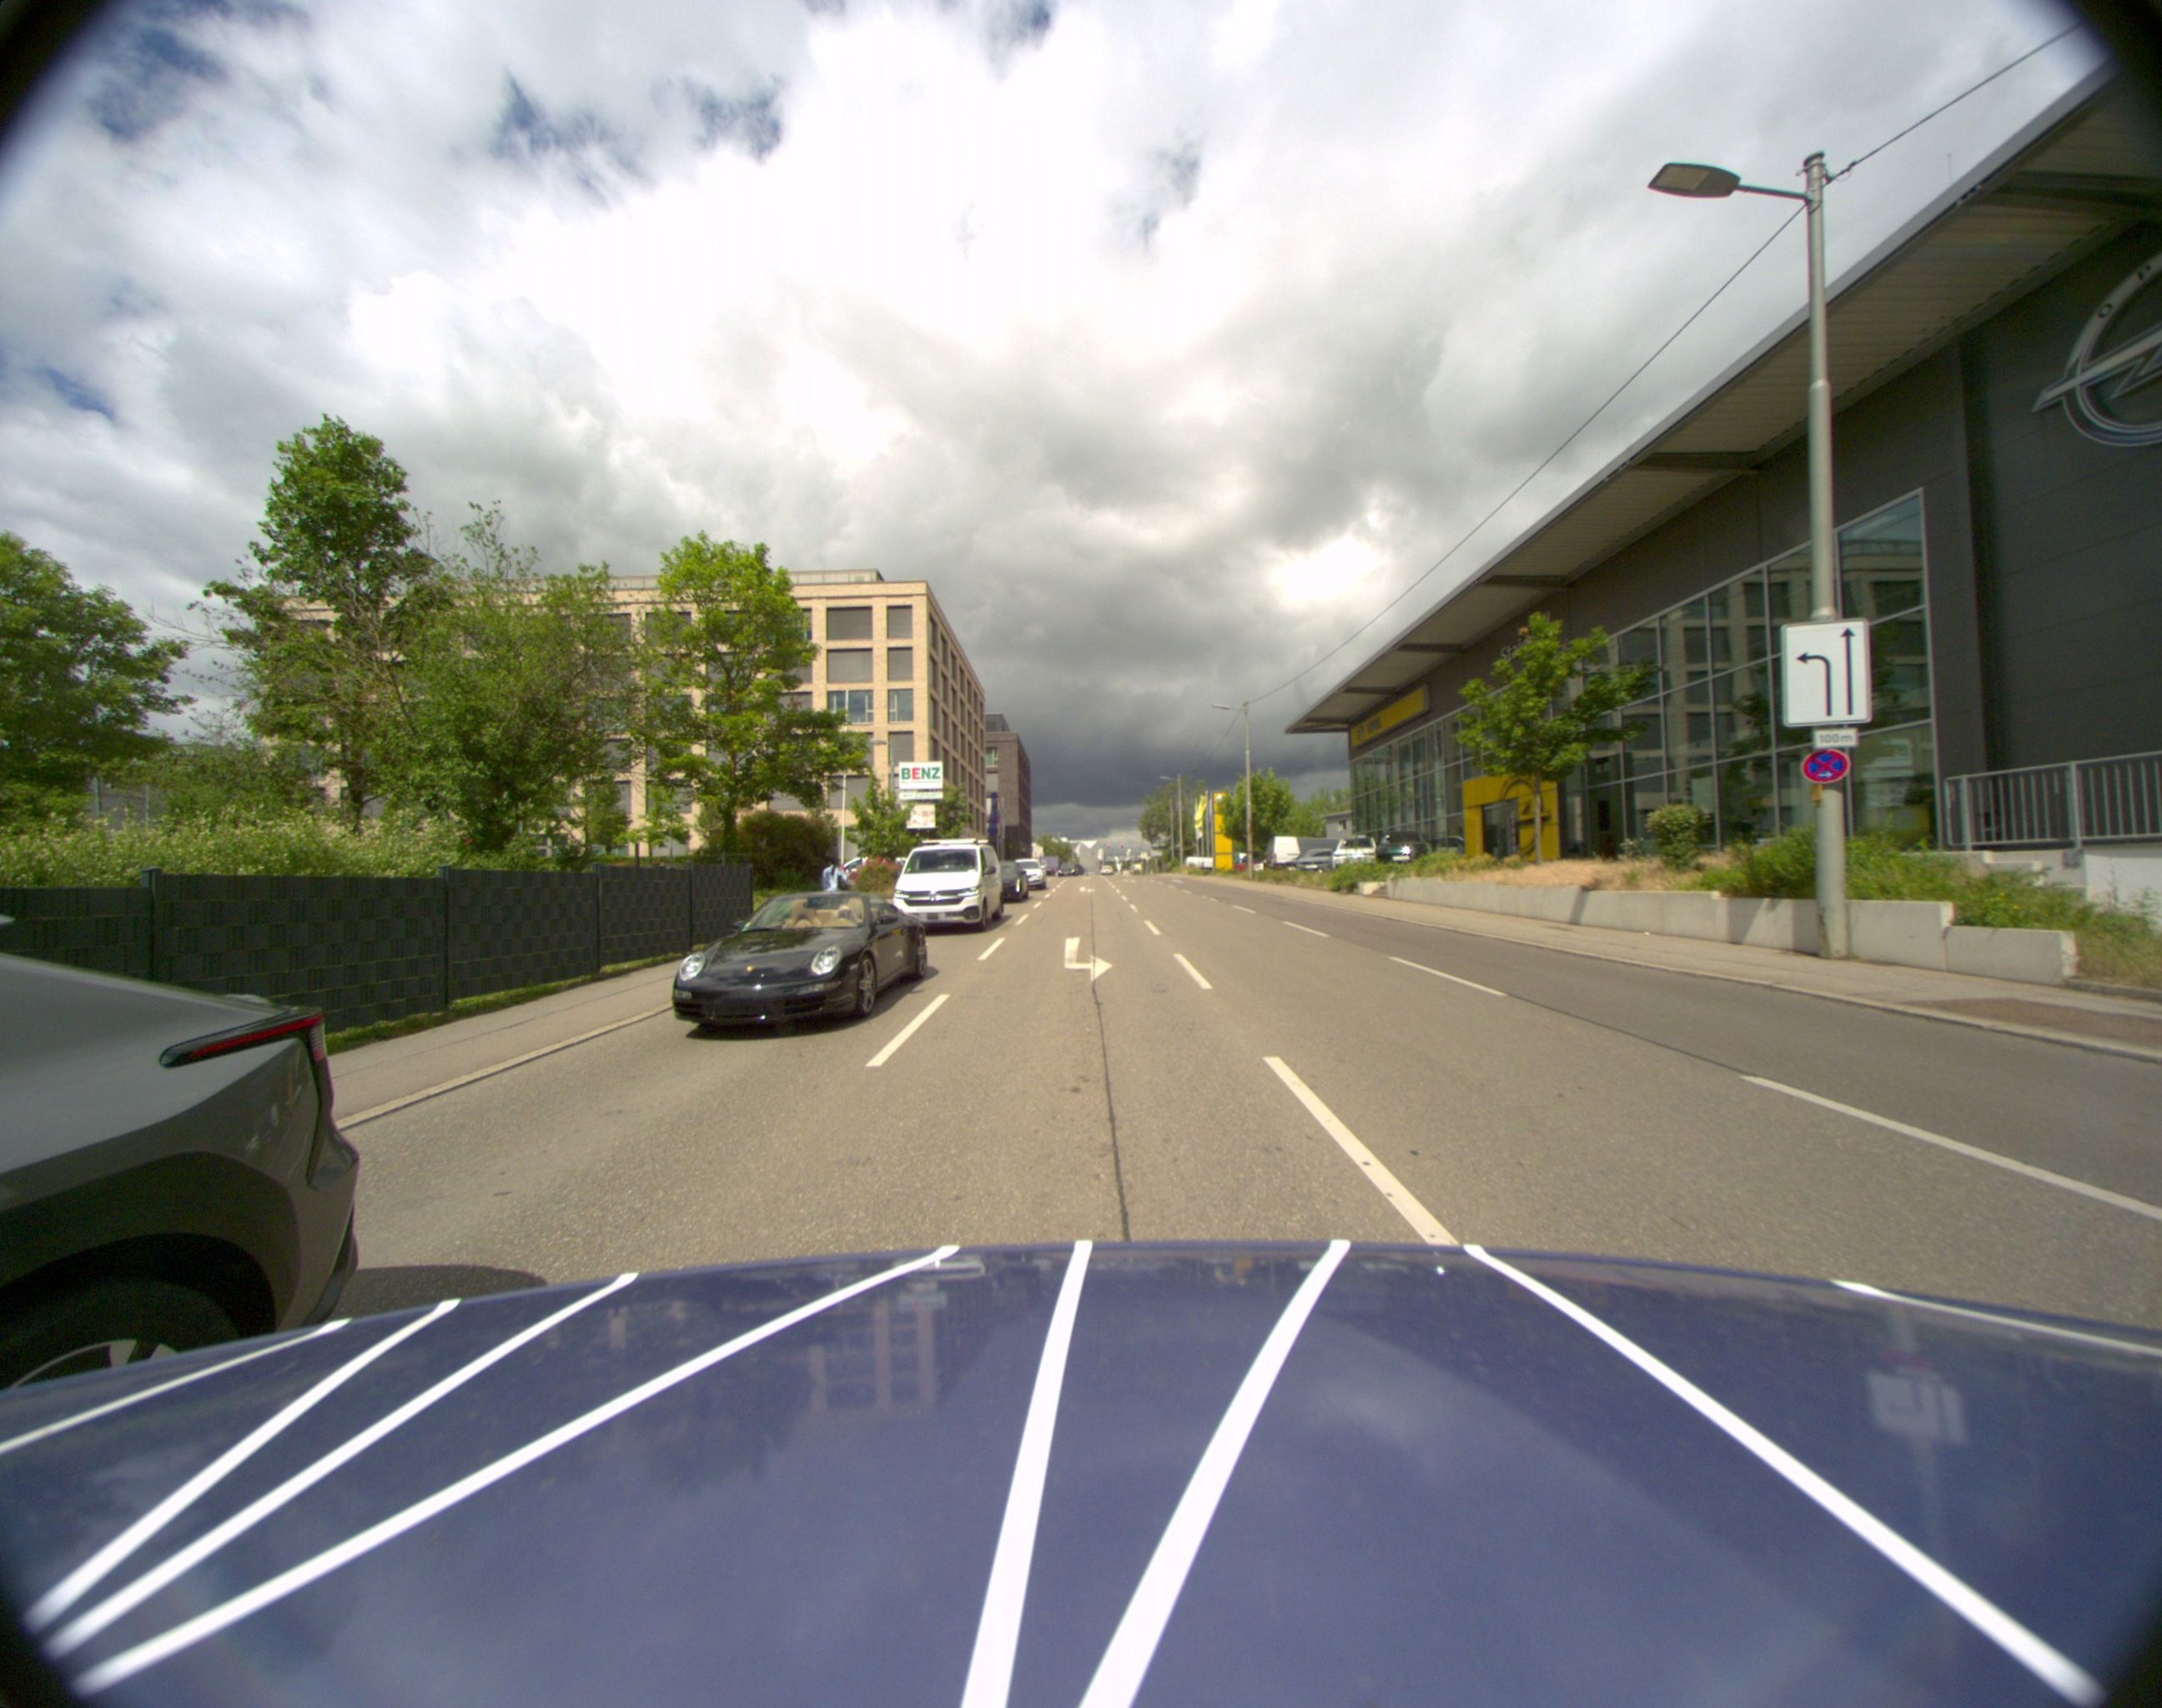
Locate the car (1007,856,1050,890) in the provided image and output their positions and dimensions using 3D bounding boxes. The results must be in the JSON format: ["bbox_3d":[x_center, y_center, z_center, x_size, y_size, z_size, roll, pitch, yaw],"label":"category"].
[{"bbox_3d":[-2.603,0.900,38.428,1.818,1.577,4.000,-1,0,1],"label":"car"}]

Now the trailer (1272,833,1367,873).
[{"bbox_3d":[14.440,-0.064,46.174,5.074,2.336,2.000,-1,1,-1],"label":"trailer"}]

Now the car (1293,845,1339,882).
[{"bbox_3d":[12.096,0.472,39.015,1.995,1.783,4.006,-1,0,21],"label":"car"}]

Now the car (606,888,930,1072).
[{"bbox_3d":[-3.037,1.152,8.423,1.824,1.286,4.038,-2,0,1],"label":"car"}]

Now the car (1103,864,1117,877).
[{"bbox_3d":[4.474,2.517,117.134,1.998,1.731,4.547,-2,0,1],"label":"car"}]

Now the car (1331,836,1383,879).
[{"bbox_3d":[12.158,0.132,33.441,1.995,1.783,4.006,-1,0,21],"label":"car"}]

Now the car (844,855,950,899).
[{"bbox_3d":[-7.642,0.921,31.790,3.998,1.723,1.822,-1,1,-3],"label":"car"}]

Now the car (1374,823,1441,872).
[{"bbox_3d":[12.326,-0.250,28.930,1.996,1.718,4.005,-1,0,18],"label":"car"}]

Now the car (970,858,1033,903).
[{"bbox_3d":[-2.839,0.917,27.887,1.818,1.454,4.000,-1,0,1],"label":"car"}]

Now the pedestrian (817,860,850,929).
[{"bbox_3d":[-6.017,0.974,18.487,0.632,1.648,0.443,-1,1,-1],"label":"pedestrian"}]

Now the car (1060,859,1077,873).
[{"bbox_3d":[-1.274,1.281,79.220,1.662,1.351,4.000,-1,0,1],"label":"car"}]

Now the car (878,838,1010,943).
[{"bbox_3d":[-3.000,0.727,17.777,2.089,2.037,4.760,-2,0,1],"label":"car"}]
